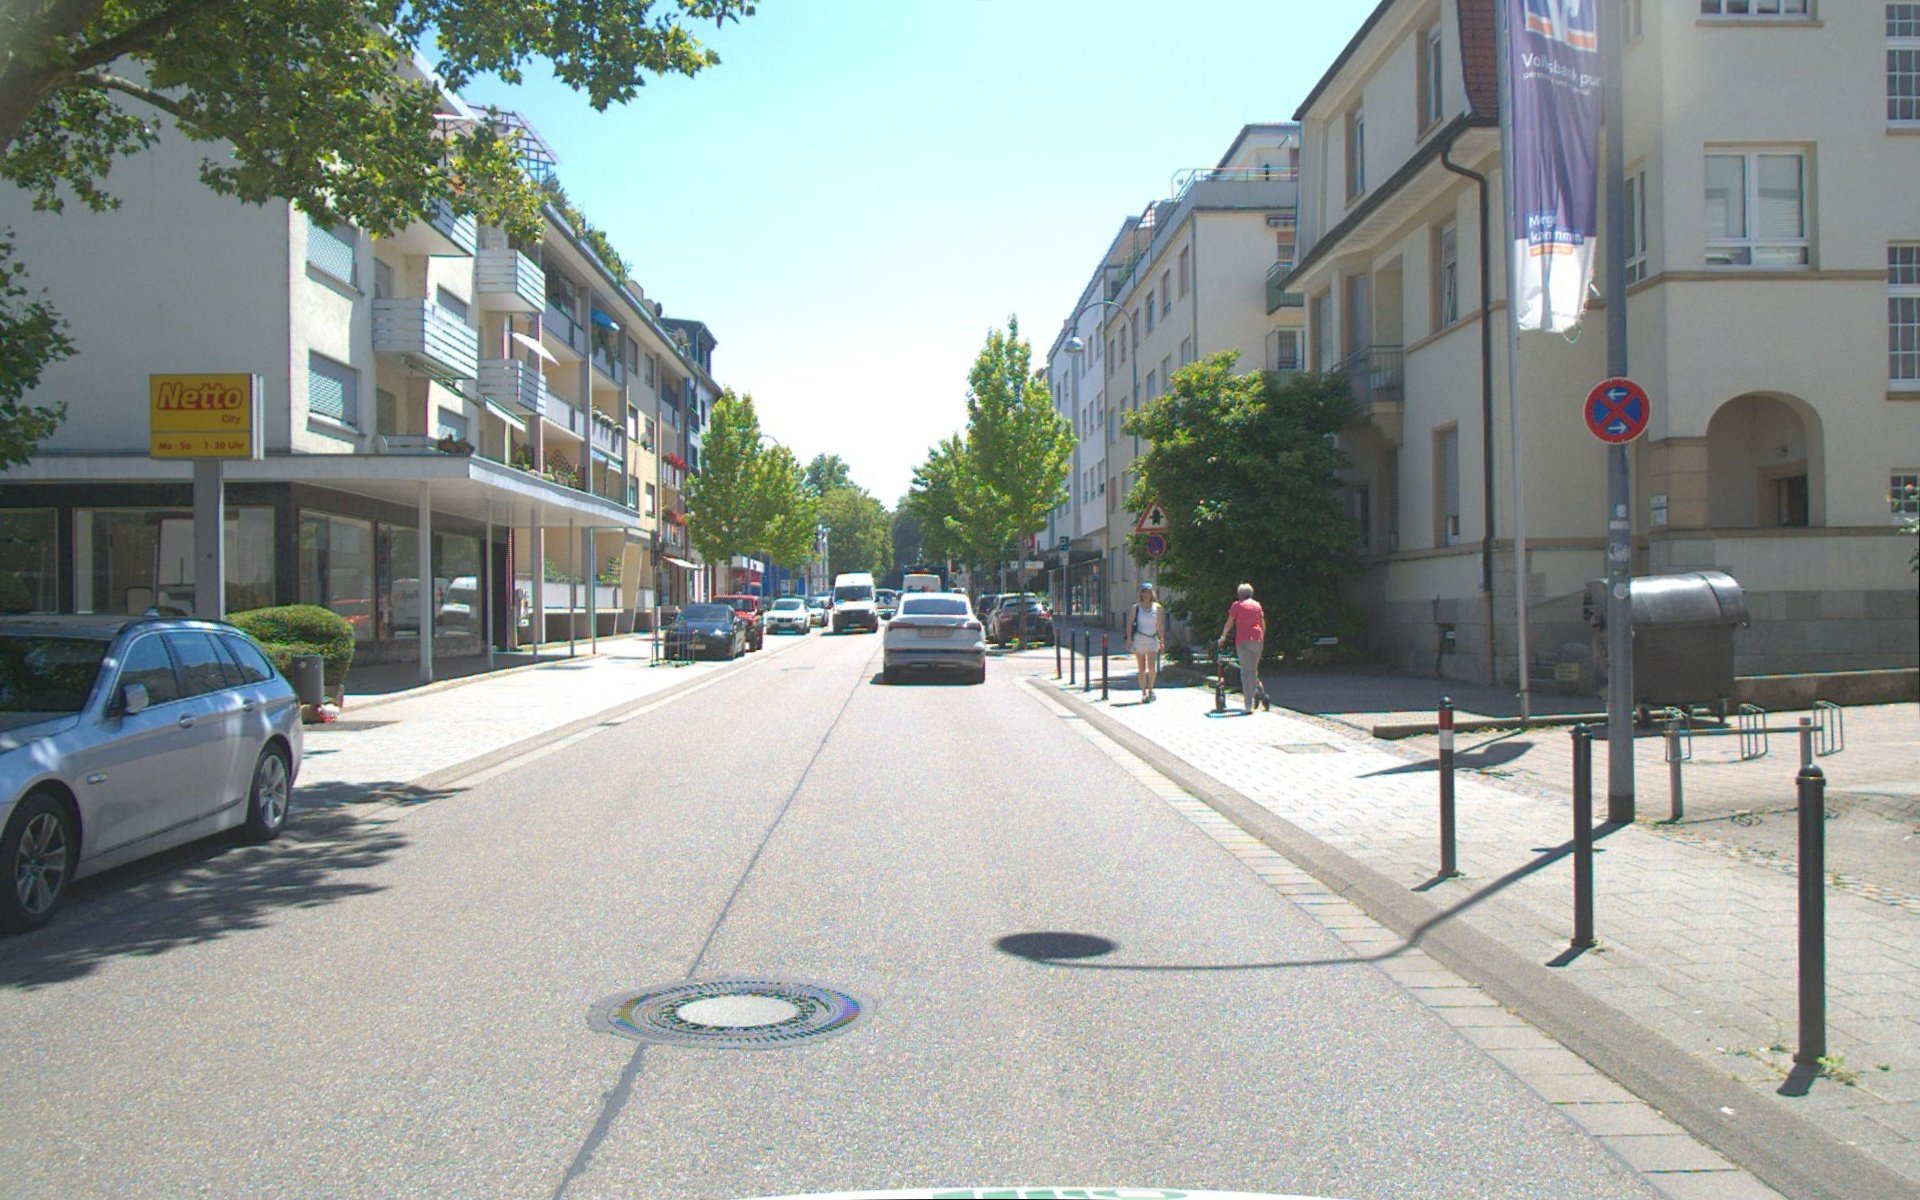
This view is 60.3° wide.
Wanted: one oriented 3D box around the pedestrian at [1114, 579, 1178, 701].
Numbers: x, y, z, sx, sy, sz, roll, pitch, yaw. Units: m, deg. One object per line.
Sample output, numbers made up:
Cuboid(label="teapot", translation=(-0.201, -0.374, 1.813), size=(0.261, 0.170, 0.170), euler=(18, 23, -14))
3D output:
Cuboid(label="pedestrian", translation=(2.641, 0.560, 23.497), size=(0.686, 1.655, 0.783), euler=(-4, 0, -3))

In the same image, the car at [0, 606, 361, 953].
Cuboid(label="car", translation=(-5.259, 0.790, 9.547), size=(1.941, 1.477, 5.148), euler=(0, 0, -3))

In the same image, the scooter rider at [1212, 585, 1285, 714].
Cuboid(label="scooter rider", translation=(3.618, 0.608, 20.798), size=(0.702, 1.576, 0.770), euler=(-2, 0, -4))

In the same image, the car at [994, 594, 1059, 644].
Cuboid(label="car", translation=(2.049, 0.561, 52.080), size=(1.857, 1.463, 4.544), euler=(-1, 0, 0))

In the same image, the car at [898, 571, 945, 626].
Cuboid(label="car", translation=(-1.827, -0.055, 78.402), size=(2.112, 2.484, 5.281), euler=(1, 0, -2))

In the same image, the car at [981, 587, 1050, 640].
Cuboid(label="car", translation=(1.903, 0.460, 58.218), size=(1.859, 1.704, 4.687), euler=(-2, 0, -4))

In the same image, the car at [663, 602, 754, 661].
Cuboid(label="car", translation=(-6.709, 0.815, 44.580), size=(1.858, 1.442, 5.045), euler=(1, 0, -2))

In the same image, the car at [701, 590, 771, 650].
Cuboid(label="car", translation=(-6.871, 0.583, 51.051), size=(1.717, 1.732, 4.099), euler=(1, 0, -2))

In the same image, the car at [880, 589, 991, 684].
Cuboid(label="car", translation=(-0.526, 0.650, 31.554), size=(1.954, 1.661, 3.998), euler=(1, 0, -3))

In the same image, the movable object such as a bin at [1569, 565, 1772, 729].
Cuboid(label="movable object such as a bin", translation=(7.052, 0.451, 16.504), size=(1.340, 1.484, 1.380), euler=(-4, 0, 0))

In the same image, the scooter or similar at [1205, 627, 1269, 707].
Cuboid(label="scooter or similar", translation=(3.588, 0.857, 21.449), size=(0.650, 0.980, 0.753), euler=(-2, 0, -2))

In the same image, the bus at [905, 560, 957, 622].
Cuboid(label="bus", translation=(-1.581, -0.448, 92.022), size=(2.606, 3.278, 7.301), euler=(1, 0, 1))

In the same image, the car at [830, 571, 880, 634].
Cuboid(label="car", translation=(-4.788, 0.112, 76.111), size=(1.996, 2.676, 7.104), euler=(-3, 0, -2))

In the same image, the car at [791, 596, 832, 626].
Cuboid(label="car", translation=(-7.625, 0.539, 85.213), size=(1.716, 1.478, 4.400), euler=(1, 0, 0))

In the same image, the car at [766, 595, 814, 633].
Cuboid(label="car", translation=(-7.595, 0.610, 74.344), size=(1.717, 1.646, 4.400), euler=(1, 0, -1))

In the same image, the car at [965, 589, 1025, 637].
Cuboid(label="car", translation=(1.316, 0.473, 63.543), size=(1.819, 1.704, 4.533), euler=(-2, 0, -4))
